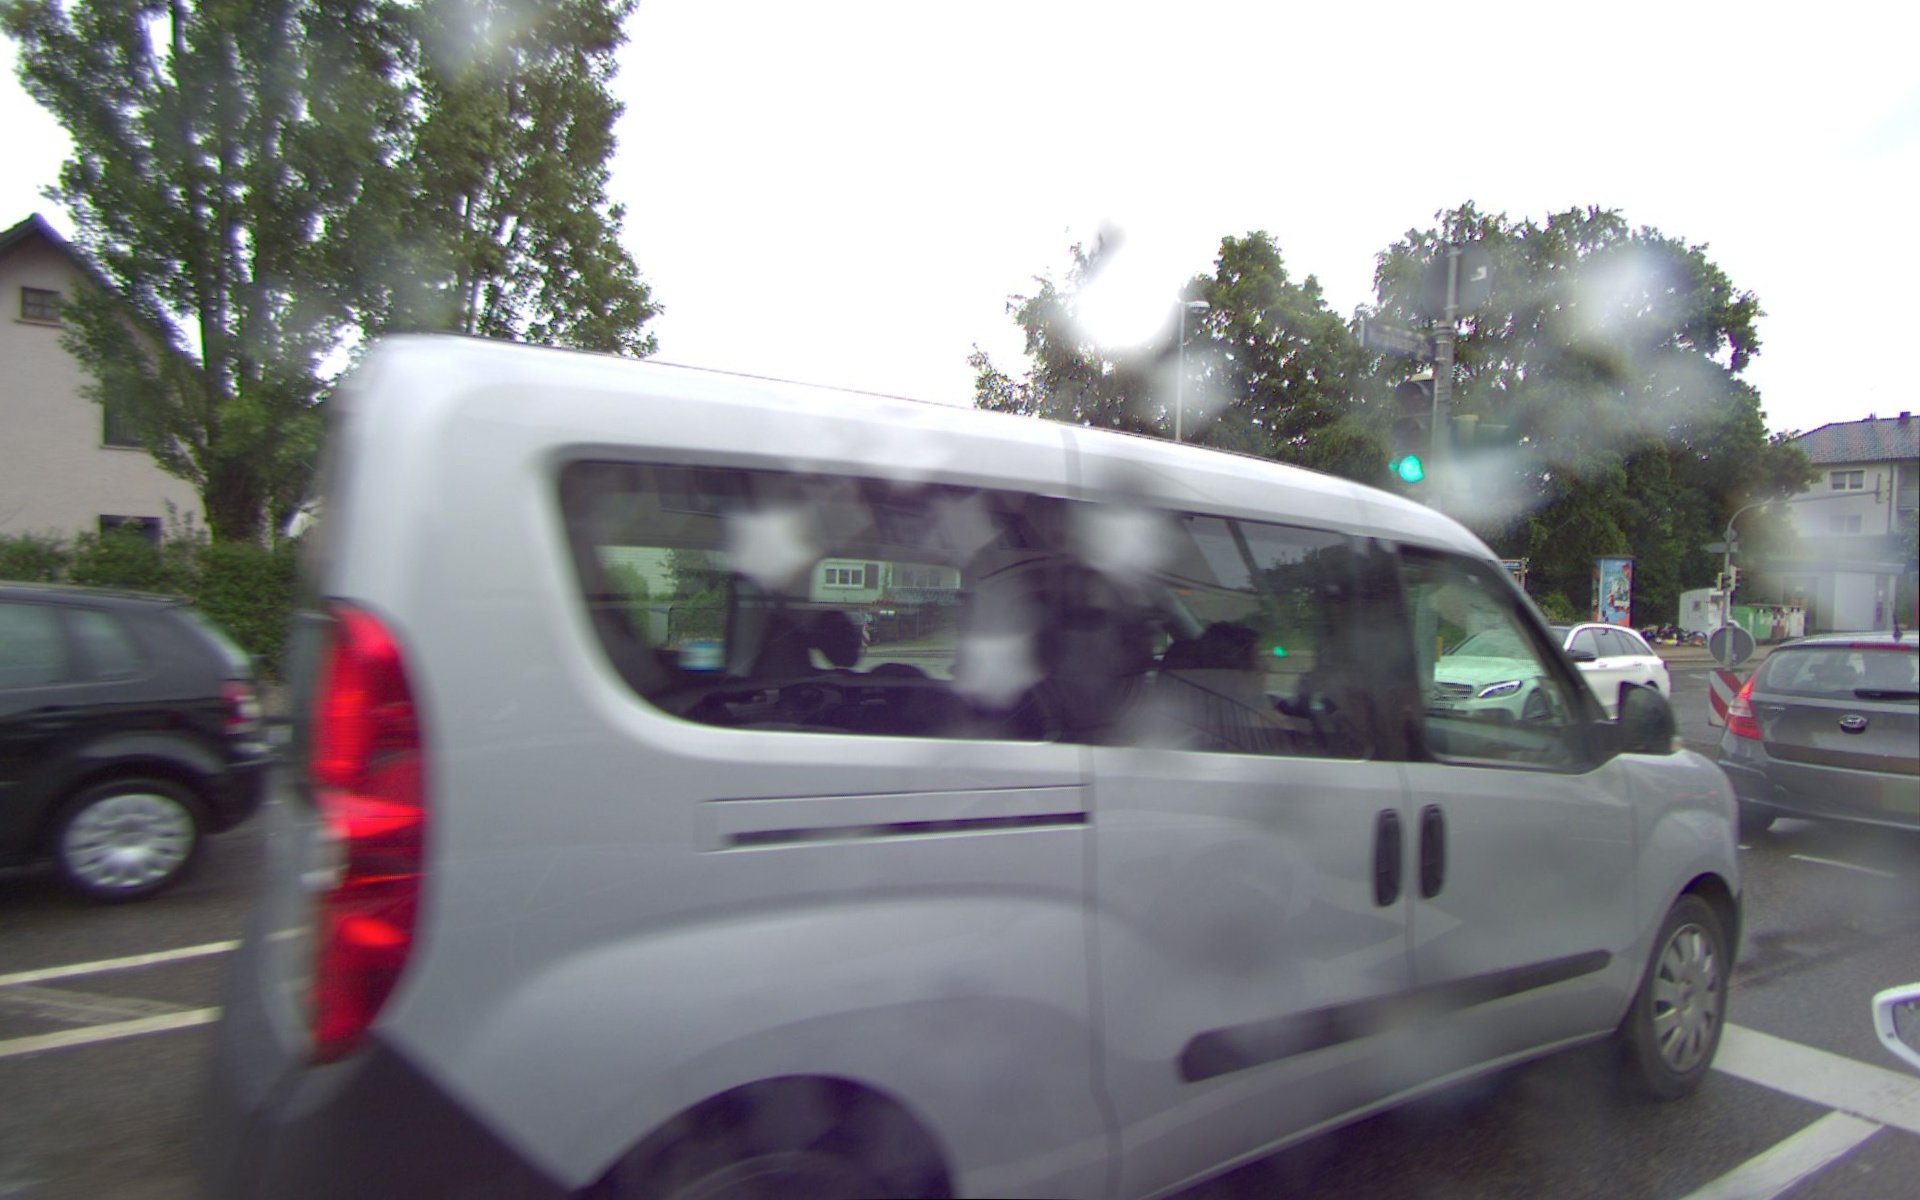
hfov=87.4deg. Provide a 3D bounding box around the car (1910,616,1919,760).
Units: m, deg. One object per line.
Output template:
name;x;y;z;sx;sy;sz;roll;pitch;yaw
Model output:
car;12.734;1.005;11.475;4.606;1.549;1.895;1;0;-36

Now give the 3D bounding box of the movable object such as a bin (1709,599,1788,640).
movable object such as a bin;32.150;0.765;40.991;1.560;1.590;2.052;-1;1;-25

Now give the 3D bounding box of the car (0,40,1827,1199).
car;0.547;0.481;3.033;4.696;1.896;1.940;1;-1;-33

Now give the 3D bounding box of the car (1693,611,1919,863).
car;7.398;0.882;7.375;4.012;1.507;1.826;1;0;-31

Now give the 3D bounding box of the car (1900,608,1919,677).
car;24.330;1.050;24.197;3.967;1.595;1.977;2;-1;-40

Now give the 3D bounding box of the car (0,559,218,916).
car;-5.523;0.542;4.123;3.964;1.483;1.839;1;0;-38

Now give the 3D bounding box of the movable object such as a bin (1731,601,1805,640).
movable object such as a bin;33.457;0.811;41.619;1.325;1.535;2.052;-1;1;-25

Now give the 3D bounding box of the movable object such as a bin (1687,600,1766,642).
movable object such as a bin;30.739;0.807;40.288;1.560;1.590;2.052;-1;1;-25

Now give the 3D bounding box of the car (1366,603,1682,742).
car;7.686;0.889;13.512;4.722;1.577;1.824;2;-1;-35
